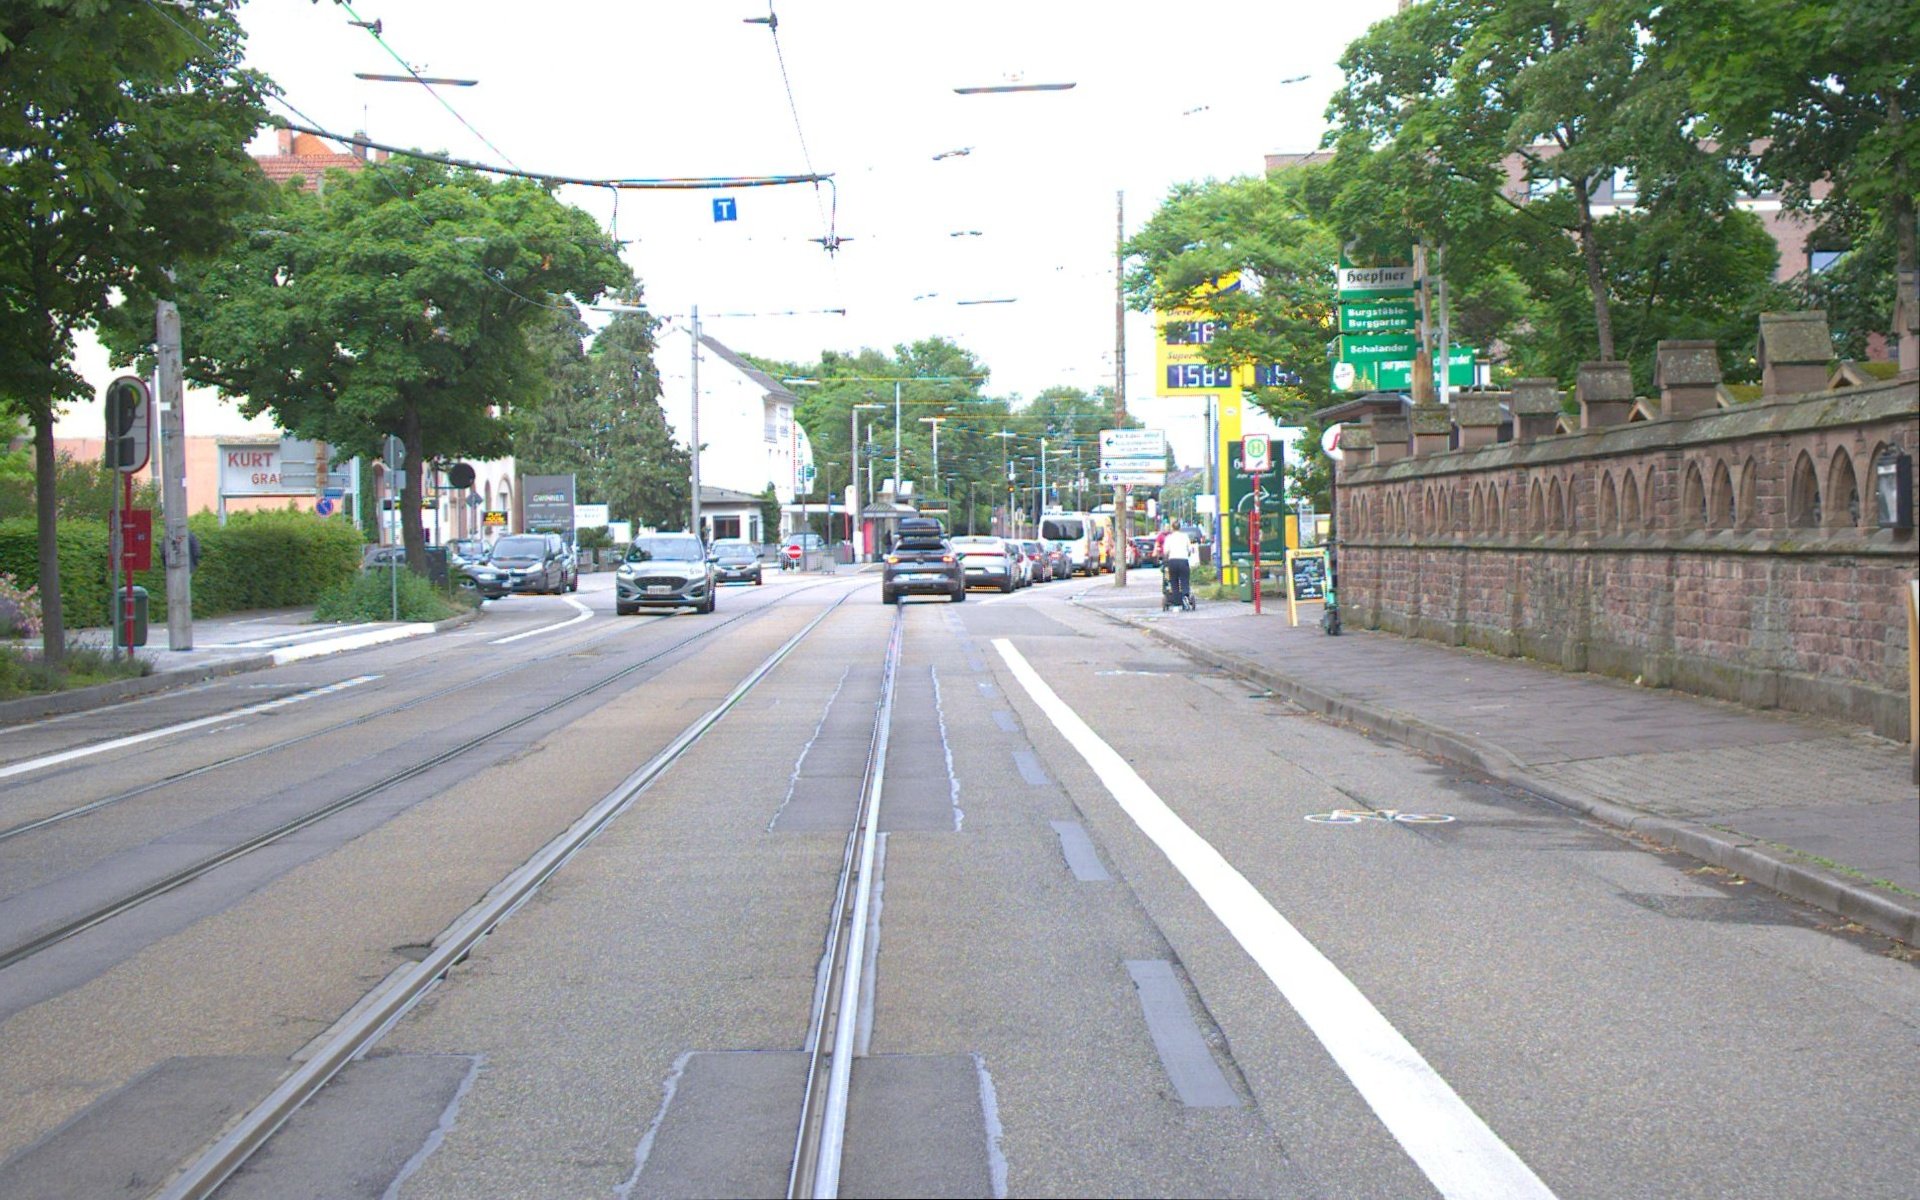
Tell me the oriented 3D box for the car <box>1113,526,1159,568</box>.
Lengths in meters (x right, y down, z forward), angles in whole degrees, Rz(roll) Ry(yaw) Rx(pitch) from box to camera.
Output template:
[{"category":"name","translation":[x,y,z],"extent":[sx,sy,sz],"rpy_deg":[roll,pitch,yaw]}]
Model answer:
[{"category":"car","translation":[8.584,-2.591,168.103],"extent":[1.993,2.007,4.000],"rpy_deg":[1,1,-1]}]

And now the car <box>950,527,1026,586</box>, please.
[{"category":"car","translation":[0.735,-1.211,93.959],"extent":[1.981,1.544,4.183],"rpy_deg":[1,1,0]}]

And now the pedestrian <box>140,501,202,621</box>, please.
[{"category":"pedestrian","translation":[-13.336,-0.662,58.107],"extent":[0.710,2.007,0.990],"rpy_deg":[1,0,6]}]

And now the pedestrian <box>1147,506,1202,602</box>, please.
[{"category":"pedestrian","translation":[4.096,-0.880,65.462],"extent":[0.768,1.790,1.161],"rpy_deg":[-3,1,14]}]

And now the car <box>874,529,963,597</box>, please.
[{"category":"car","translation":[-0.951,-0.858,79.456],"extent":[1.990,1.492,4.326],"rpy_deg":[1,1,0]}]

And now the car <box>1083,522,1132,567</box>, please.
[{"category":"car","translation":[6.658,-2.493,155.703],"extent":[1.993,2.007,4.000],"rpy_deg":[1,1,-1]}]

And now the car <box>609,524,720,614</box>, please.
[{"category":"car","translation":[-5.974,-0.657,69.947],"extent":[1.842,1.648,4.389],"rpy_deg":[-3,2,-1]}]

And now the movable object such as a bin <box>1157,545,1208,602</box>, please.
[{"category":"movable object such as a bin","translation":[4.310,-0.516,66.457],"extent":[0.768,1.035,1.023],"rpy_deg":[-3,1,14]}]

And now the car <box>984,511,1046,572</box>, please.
[{"category":"car","translation":[1.872,-1.963,115.835],"extent":[1.993,2.007,4.000],"rpy_deg":[1,1,2]}]

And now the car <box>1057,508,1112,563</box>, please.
[{"category":"car","translation":[5.047,-2.579,139.117],"extent":[2.139,2.138,4.743],"rpy_deg":[1,1,3]}]

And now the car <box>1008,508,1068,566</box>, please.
[{"category":"car","translation":[2.795,-2.209,121.957],"extent":[1.994,2.007,4.000],"rpy_deg":[1,1,3]}]

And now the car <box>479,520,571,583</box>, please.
[{"category":"car","translation":[-13.411,-1.477,106.302],"extent":[1.992,1.880,4.998],"rpy_deg":[1,1,2]}]

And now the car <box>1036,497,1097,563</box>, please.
[{"category":"car","translation":[4.019,-2.608,129.735],"extent":[2.216,2.415,4.951],"rpy_deg":[1,1,2]}]

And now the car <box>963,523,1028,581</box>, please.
[{"category":"car","translation":[1.122,-1.478,107.136],"extent":[1.969,1.750,3.838],"rpy_deg":[1,1,1]}]

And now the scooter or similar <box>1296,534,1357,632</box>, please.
[{"category":"scooter or similar","translation":[4.849,-0.231,45.587],"extent":[0.577,1.235,1.410],"rpy_deg":[-4,1,0]}]

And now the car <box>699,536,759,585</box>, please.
[{"category":"car","translation":[-7.704,-1.338,115.081],"extent":[1.747,1.481,4.063],"rpy_deg":[-1,2,-1]}]
